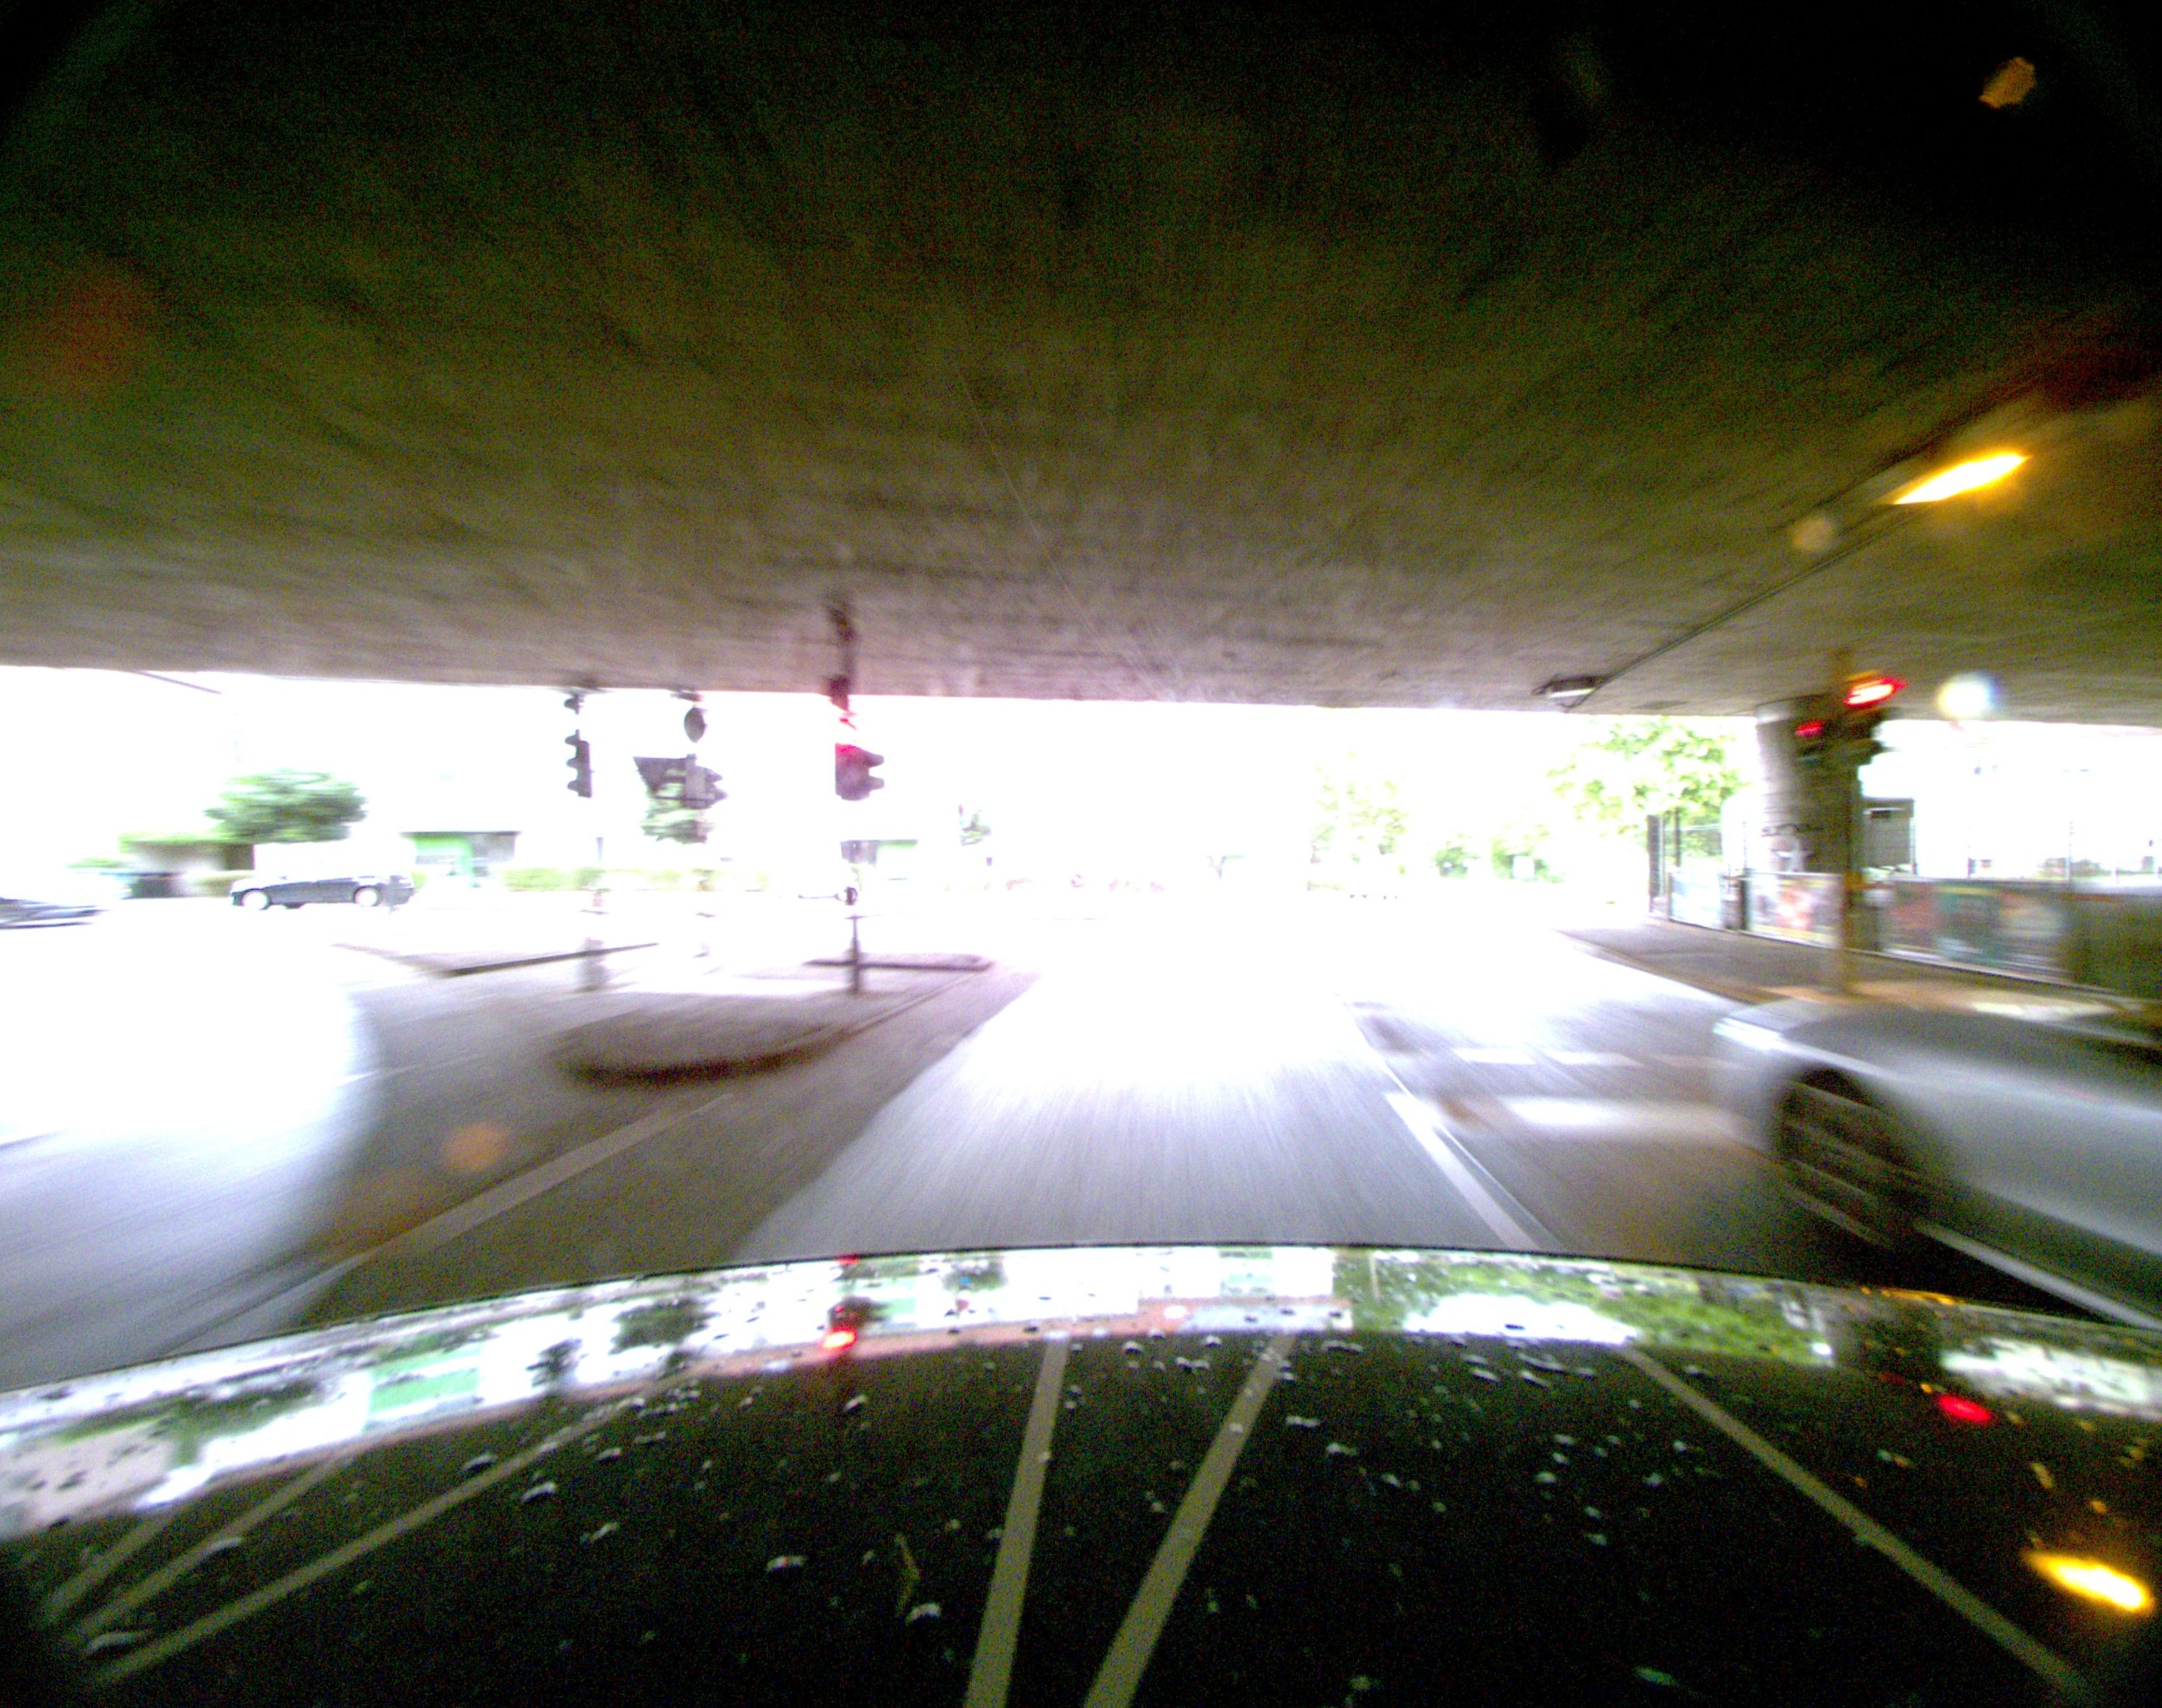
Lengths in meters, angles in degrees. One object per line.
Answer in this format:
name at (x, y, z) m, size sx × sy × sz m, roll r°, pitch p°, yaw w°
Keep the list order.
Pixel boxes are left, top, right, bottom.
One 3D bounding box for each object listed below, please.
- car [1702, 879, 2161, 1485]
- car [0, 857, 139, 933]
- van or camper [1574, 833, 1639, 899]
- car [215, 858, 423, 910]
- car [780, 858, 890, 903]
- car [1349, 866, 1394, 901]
car at (3.735, 0.857, 1.212) m, size 1.998 × 1.521 × 4.501 m, roll 0°, pitch 0°, yaw 3°
car at (-24.783, 0.903, 17.146) m, size 4.235 × 1.571 × 1.767 m, roll 0°, pitch 2°, yaw -11°
van or camper at (29.147, 0.732, 42.034) m, size 2.699 × 3.314 × 7.779 m, roll -1°, pitch -2°, yaw 36°
car at (-22.376, 0.881, 22.523) m, size 4.004 × 1.449 × 1.643 m, roll 1°, pitch -2°, yaw -21°
car at (-8.829, 0.938, 27.279) m, size 3.632 × 1.548 × 1.643 m, roll 1°, pitch -2°, yaw -20°
car at (13.722, 1.379, 35.762) m, size 1.704 × 1.548 × 4.008 m, roll -1°, pitch -2°, yaw 25°
